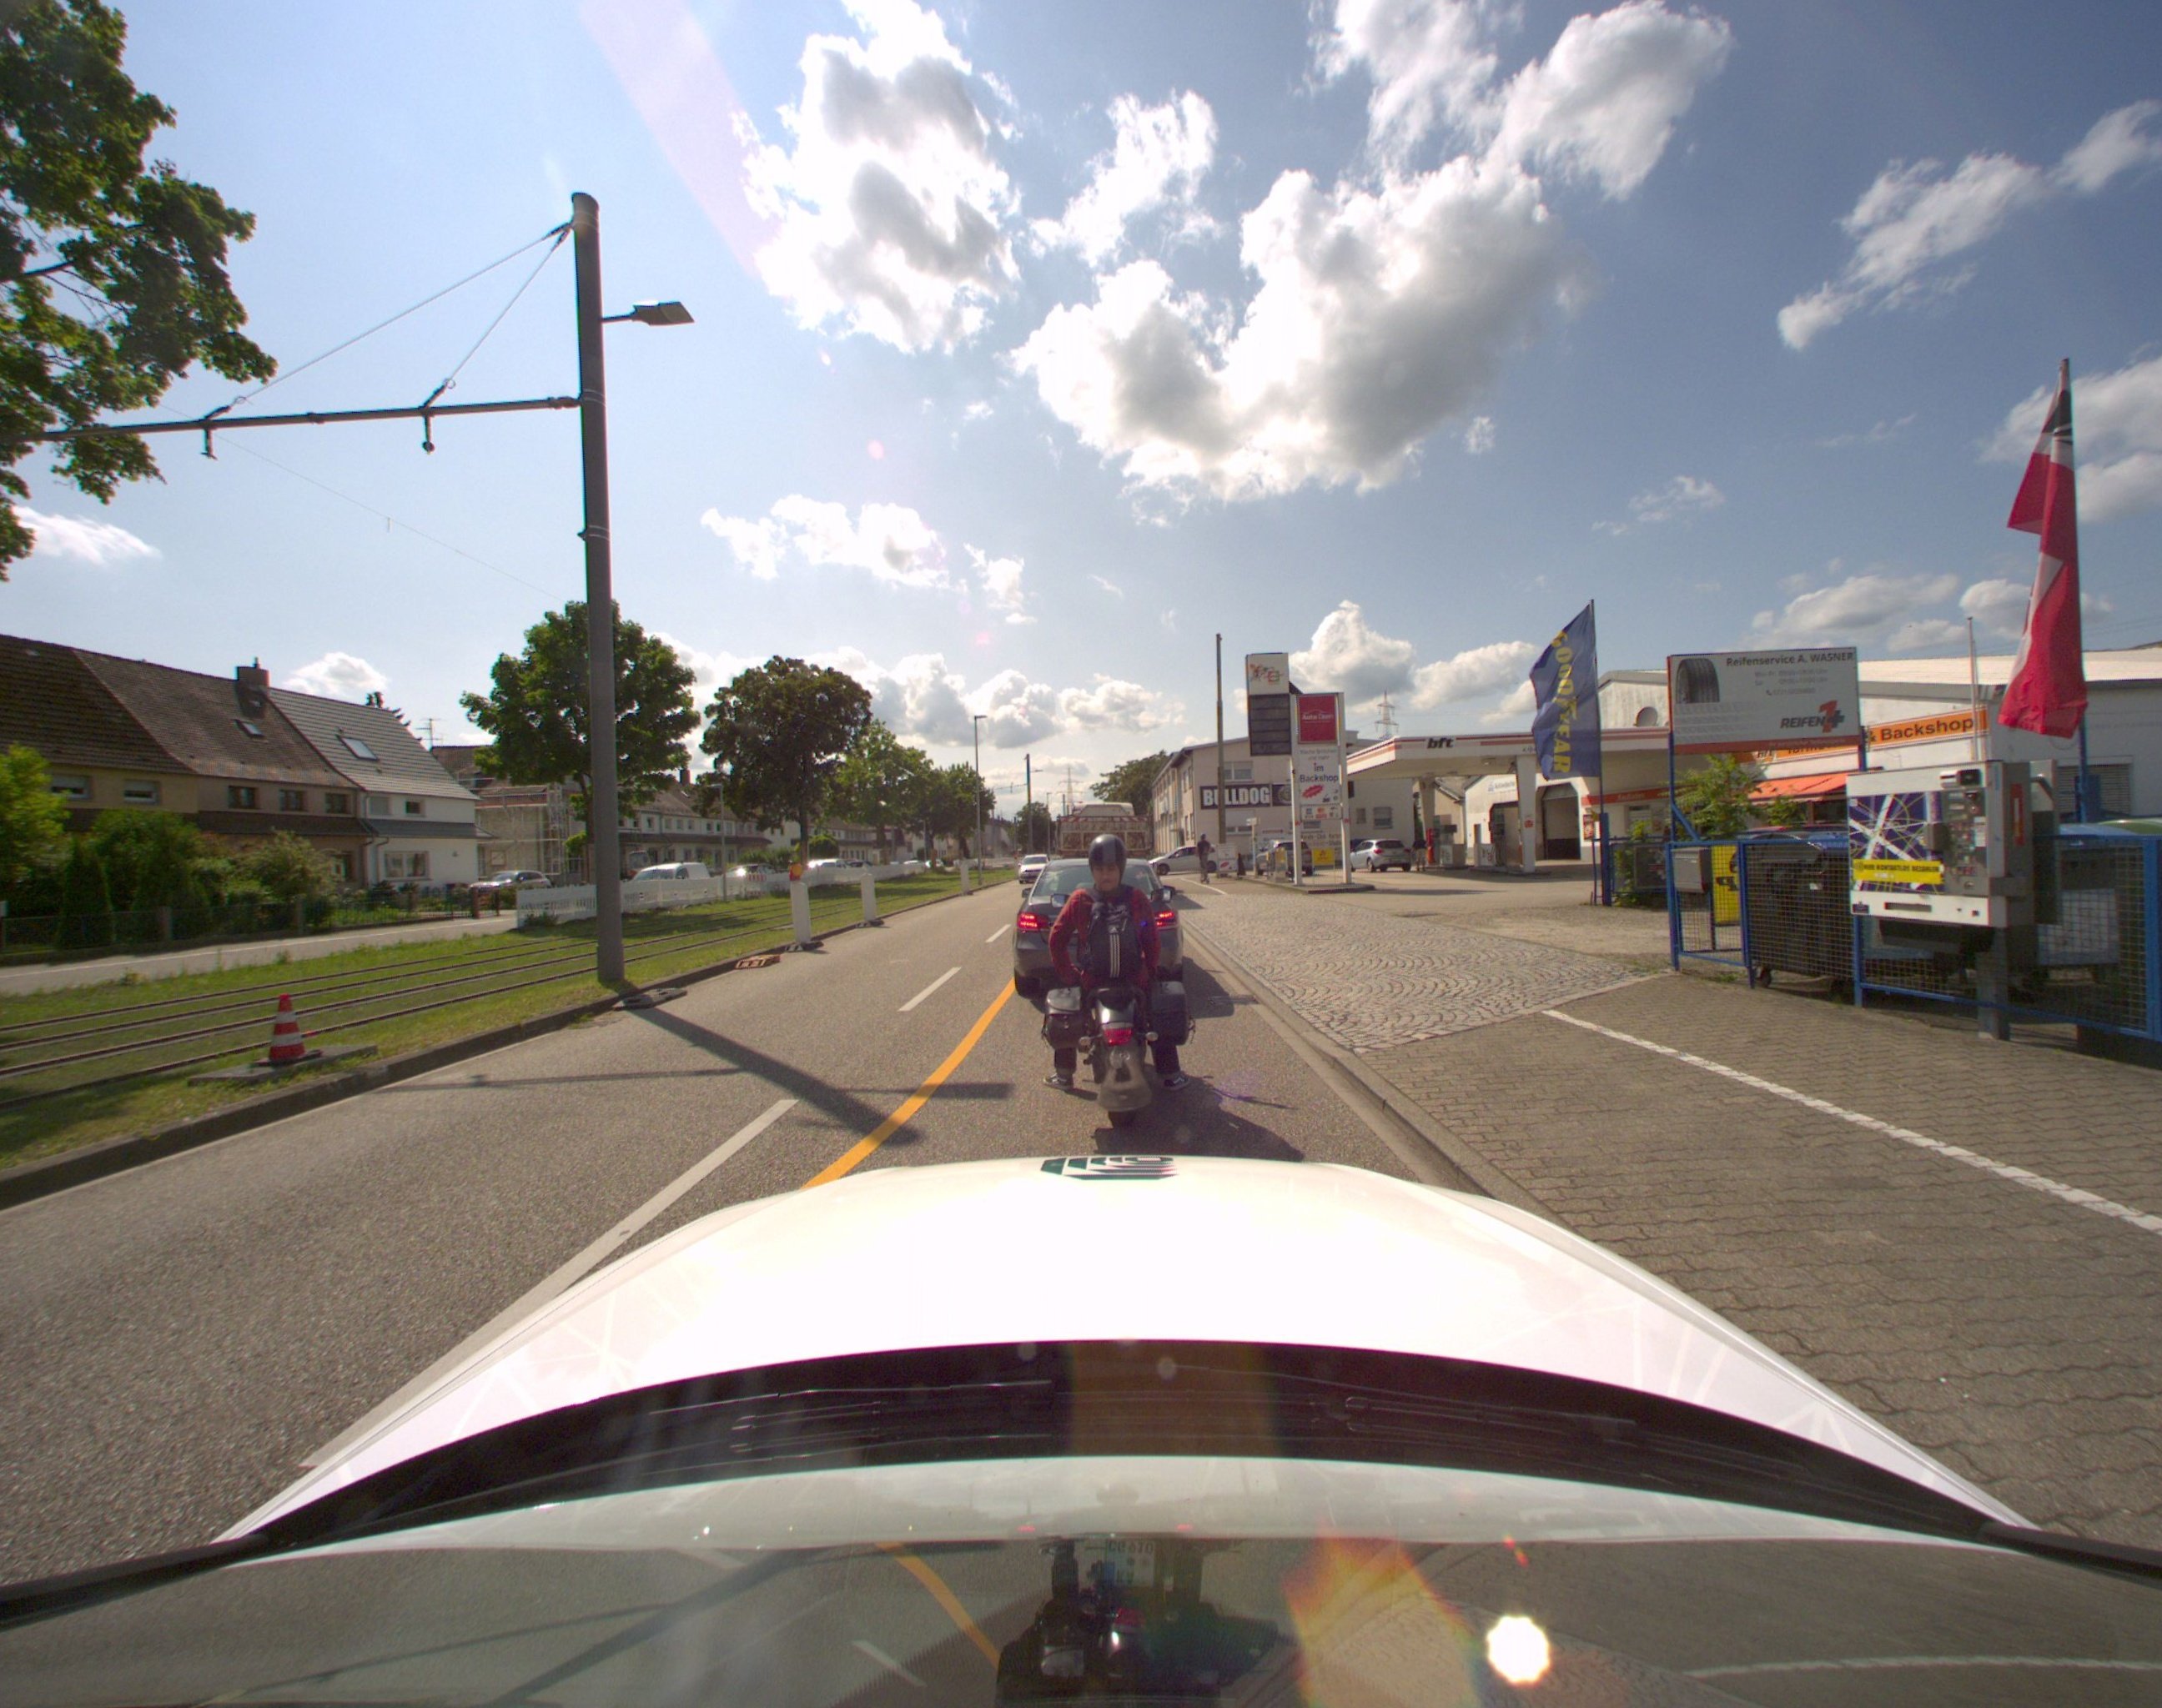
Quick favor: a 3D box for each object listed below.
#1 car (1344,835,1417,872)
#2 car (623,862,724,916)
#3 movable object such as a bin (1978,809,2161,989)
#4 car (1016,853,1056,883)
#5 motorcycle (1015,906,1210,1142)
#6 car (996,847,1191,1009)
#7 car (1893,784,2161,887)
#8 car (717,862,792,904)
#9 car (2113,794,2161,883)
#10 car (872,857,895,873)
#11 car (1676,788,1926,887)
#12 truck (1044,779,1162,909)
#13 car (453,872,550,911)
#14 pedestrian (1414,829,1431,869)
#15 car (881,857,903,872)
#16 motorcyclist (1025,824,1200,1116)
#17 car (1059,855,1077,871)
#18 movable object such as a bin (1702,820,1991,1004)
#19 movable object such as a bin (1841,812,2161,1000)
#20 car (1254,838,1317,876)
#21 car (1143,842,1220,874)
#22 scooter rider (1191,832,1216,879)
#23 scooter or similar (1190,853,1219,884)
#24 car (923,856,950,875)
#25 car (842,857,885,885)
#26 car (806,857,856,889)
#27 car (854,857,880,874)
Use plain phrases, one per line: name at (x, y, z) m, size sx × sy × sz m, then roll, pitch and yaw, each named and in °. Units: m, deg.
car at (13.537, -0.025, 37.067) m, size 1.826 × 1.479 × 4.009 m, roll -3°, pitch 0°, yaw 1°
car at (-15.419, 1.276, 31.053) m, size 1.692 × 1.817 × 3.862 m, roll -2°, pitch 0°, yaw 2°
movable object such as a bin at (9.450, 0.334, 7.188) m, size 1.425 × 1.454 × 1.455 m, roll -2°, pitch 0°, yaw 0°
car at (-2.337, 0.722, 43.416) m, size 1.709 × 1.413 × 4.264 m, roll -2°, pitch 0°, yaw 2°
motorcycle at (0.196, 0.931, 5.311) m, size 0.972 × 1.013 × 2.433 m, roll -1°, pitch 0°, yaw 2°
car at (0.150, 0.706, 9.878) m, size 1.826 × 1.479 × 4.009 m, roll -3°, pitch 0°, yaw 1°
car at (21.249, -0.402, 18.268) m, size 3.972 × 2.013 × 2.001 m, roll -2°, pitch 0°, yaw 1°
car at (-15.327, 1.322, 38.483) m, size 1.692 × 1.739 × 4.056 m, roll -2°, pitch 0°, yaw 2°
car at (26.352, -0.434, 18.184) m, size 3.972 × 2.013 × 2.001 m, roll -2°, pitch 0°, yaw 1°
car at (-24.053, 1.331, 99.337) m, size 1.692 × 1.739 × 4.064 m, roll -2°, pitch 0°, yaw 2°
car at (16.602, -0.372, 18.960) m, size 3.972 × 2.013 × 2.001 m, roll -2°, pitch 0°, yaw 1°
truck at (0.642, -0.283, 25.602) m, size 2.960 × 3.304 × 8.407 m, roll -2°, pitch 0°, yaw 1°
car at (-27.480, 1.729, 38.789) m, size 1.692 × 1.593 × 3.862 m, roll -2°, pitch 0°, yaw 2°
pedestrian at (14.841, -0.211, 35.386) m, size 0.628 × 1.683 × 0.626 m, roll -2°, pitch 0°, yaw 23°
car at (-24.383, 1.339, 105.361) m, size 1.692 × 1.739 × 4.064 m, roll -2°, pitch 0°, yaw 2°
motorcyclist at (0.195, 0.653, 5.193) m, size 0.966 × 1.633 × 1.215 m, roll -1°, pitch 0°, yaw 1°
car at (-1.313, 0.922, 86.029) m, size 1.674 × 1.624 × 4.120 m, roll -2°, pitch 0°, yaw 1°
movable object such as a bin at (6.825, 0.469, 7.402) m, size 1.222 × 1.454 × 1.455 m, roll -2°, pitch 0°, yaw 0°
movable object such as a bin at (8.104, 0.415, 7.278) m, size 1.222 × 1.454 × 1.455 m, roll -2°, pitch 0°, yaw 0°
car at (9.092, 0.119, 36.574) m, size 1.826 × 1.536 × 4.009 m, roll -3°, pitch 0°, yaw 1°
car at (5.764, 0.226, 47.047) m, size 4.101 × 1.624 × 1.682 m, roll -3°, pitch 0°, yaw -7°
scooter rider at (4.862, 0.040, 32.353) m, size 0.794 × 1.818 × 0.507 m, roll -2°, pitch 0°, yaw -5°
scooter or similar at (4.883, 0.568, 32.262) m, size 0.794 × 1.144 × 1.517 m, roll -2°, pitch 0°, yaw -3°
car at (-14.197, 1.149, 80.175) m, size 1.692 × 1.739 × 3.862 m, roll -2°, pitch 0°, yaw 2°
car at (-14.870, 1.137, 55.754) m, size 1.692 × 1.739 × 3.862 m, roll -2°, pitch 0°, yaw 2°
car at (-15.104, 1.110, 49.388) m, size 1.692 × 1.739 × 3.862 m, roll -2°, pitch 0°, yaw 2°
car at (-24.468, 1.298, 93.135) m, size 1.692 × 1.739 × 4.064 m, roll -2°, pitch 0°, yaw 2°
